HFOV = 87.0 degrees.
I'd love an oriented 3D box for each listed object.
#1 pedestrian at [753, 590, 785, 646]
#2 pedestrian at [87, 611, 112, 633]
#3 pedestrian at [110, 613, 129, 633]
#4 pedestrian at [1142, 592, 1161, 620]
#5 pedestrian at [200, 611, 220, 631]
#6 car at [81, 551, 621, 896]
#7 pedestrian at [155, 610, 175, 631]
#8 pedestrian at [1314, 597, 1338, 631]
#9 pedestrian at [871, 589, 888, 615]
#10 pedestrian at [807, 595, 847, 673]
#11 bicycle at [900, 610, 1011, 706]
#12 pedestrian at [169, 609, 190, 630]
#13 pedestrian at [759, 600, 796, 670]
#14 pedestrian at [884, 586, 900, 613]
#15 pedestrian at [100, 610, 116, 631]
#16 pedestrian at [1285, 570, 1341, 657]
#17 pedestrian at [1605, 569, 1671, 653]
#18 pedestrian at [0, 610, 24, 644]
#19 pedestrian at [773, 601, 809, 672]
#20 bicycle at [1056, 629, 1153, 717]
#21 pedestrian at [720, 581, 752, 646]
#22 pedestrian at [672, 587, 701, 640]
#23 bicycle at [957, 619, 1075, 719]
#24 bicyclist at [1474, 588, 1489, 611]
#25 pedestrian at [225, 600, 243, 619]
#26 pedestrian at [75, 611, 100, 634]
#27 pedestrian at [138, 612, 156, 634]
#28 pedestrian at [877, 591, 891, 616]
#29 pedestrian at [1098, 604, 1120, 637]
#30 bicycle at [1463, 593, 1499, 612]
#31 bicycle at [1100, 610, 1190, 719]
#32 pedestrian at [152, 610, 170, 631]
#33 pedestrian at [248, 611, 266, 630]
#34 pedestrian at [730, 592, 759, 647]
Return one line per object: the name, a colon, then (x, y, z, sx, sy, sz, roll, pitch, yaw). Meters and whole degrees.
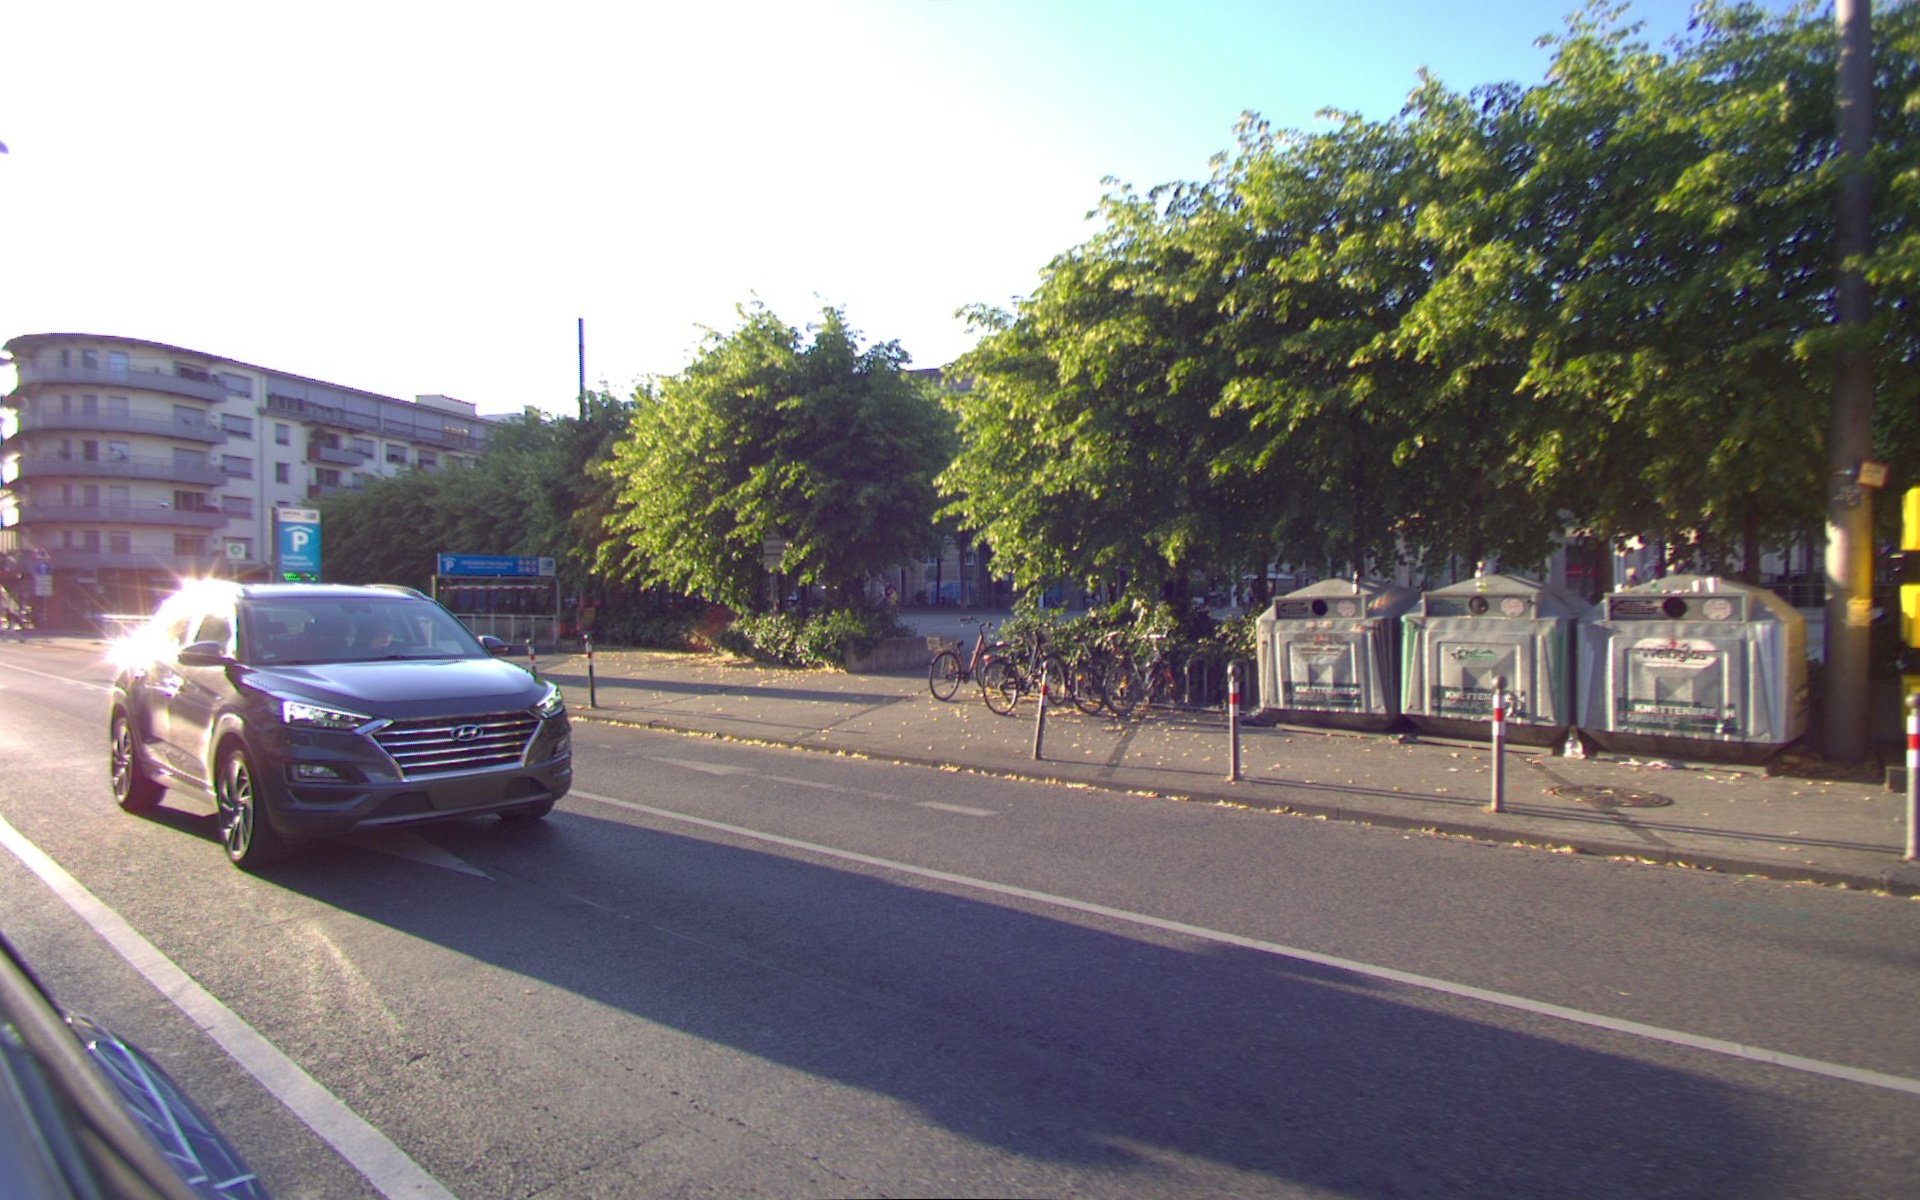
pedestrian: (-7.056, 0.660, 37.425, 0.736, 2.029, 0.898, -1, 0, 28)
pedestrian: (-51.518, 1.316, 60.614, 0.724, 1.332, 0.886, -1, 0, 9)
pedestrian: (-51.598, 1.411, 62.102, 0.875, 1.201, 0.734, -1, 0, -41)
pedestrian: (7.583, 0.225, 40.051, 0.528, 1.071, 0.457, -3, 0, 34)
pedestrian: (-50.047, 1.412, 67.545, 0.884, 1.332, 0.727, -1, 0, 25)
car: (-4.471, 0.636, 7.134, 4.444, 1.702, 1.854, -1, -1, 39)
pedestrian: (-51.686, 1.342, 65.789, 0.814, 1.332, 0.684, -1, 0, 16)
pedestrian: (11.964, 0.454, 33.125, 0.454, 1.071, 0.531, -3, 0, -21)
pedestrian: (-4.375, 0.083, 54.899, 0.651, 1.386, 0.656, 0, 2, 26)
pedestrian: (-3.558, 0.896, 27.127, 0.739, 2.029, 0.754, -1, 0, 42)
bicycle: (-0.033, 0.813, 14.972, 0.547, 1.262, 2.007, -1, 1, 36)
pedestrian: (-50.376, 1.249, 65.324, 0.884, 1.332, 0.726, -1, 0, 27)
pedestrian: (-5.415, 1.036, 30.051, 0.890, 2.029, 0.742, -1, 0, -26)
pedestrian: (-3.628, -0.027, 53.997, 0.651, 1.386, 0.515, -1, 0, 26)
pedestrian: (-52.706, 1.265, 62.608, 0.610, 1.332, 0.669, -1, 0, 39)
pedestrian: (7.245, 0.266, 20.804, 0.723, 1.738, 0.899, -1, 1, -13)
pedestrian: (13.477, 0.201, 20.127, 0.693, 1.633, 0.843, -1, 1, -12)
pedestrian: (-43.309, 1.236, 46.134, 0.668, 1.529, 0.677, -1, 0, -3)
pedestrian: (-4.941, 1.041, 29.564, 0.890, 2.029, 0.742, -1, 0, -23)
bicycle: (1.918, 0.921, 13.282, 0.548, 0.986, 1.659, -1, 1, 36)
pedestrian: (-7.199, 0.422, 32.505, 0.890, 2.029, 0.742, 0, 0, -23)
pedestrian: (-10.583, 0.531, 39.195, 0.733, 2.029, 0.901, -1, 0, 17)
bicycle: (0.777, 0.861, 13.390, 0.547, 1.143, 2.007, -1, 1, 36)
bicyclist: (34.336, -0.030, 66.655, 0.764, 1.459, 0.637, 0, 1, 17)
pedestrian: (-51.030, 0.671, 71.132, 0.721, 1.332, 0.891, -1, 0, -11)
pedestrian: (-52.421, 1.359, 60.802, 0.726, 1.332, 0.885, -1, 0, 13)
pedestrian: (-51.350, 1.434, 63.934, 0.888, 1.332, 0.723, -1, 0, 39)
pedestrian: (-4.266, 0.211, 56.851, 0.651, 1.386, 0.515, -1, 0, 26)
pedestrian: (4.958, 0.696, 33.711, 0.454, 1.071, 0.531, -3, 0, -30)
bicycle: (34.327, 0.167, 66.661, 2.012, 1.270, 0.577, 0, 1, 17)
bicycle: (2.398, 0.783, 12.997, 0.444, 1.262, 1.571, -1, 1, 38)
pedestrian: (-50.882, 1.300, 64.432, 0.887, 1.332, 0.724, -1, 0, 38)
pedestrian: (-49.028, 1.411, 70.622, 0.721, 1.332, 0.891, -1, 0, -11)
pedestrian: (-8.088, 0.717, 38.023, 0.733, 2.029, 0.901, -1, 0, 17)
